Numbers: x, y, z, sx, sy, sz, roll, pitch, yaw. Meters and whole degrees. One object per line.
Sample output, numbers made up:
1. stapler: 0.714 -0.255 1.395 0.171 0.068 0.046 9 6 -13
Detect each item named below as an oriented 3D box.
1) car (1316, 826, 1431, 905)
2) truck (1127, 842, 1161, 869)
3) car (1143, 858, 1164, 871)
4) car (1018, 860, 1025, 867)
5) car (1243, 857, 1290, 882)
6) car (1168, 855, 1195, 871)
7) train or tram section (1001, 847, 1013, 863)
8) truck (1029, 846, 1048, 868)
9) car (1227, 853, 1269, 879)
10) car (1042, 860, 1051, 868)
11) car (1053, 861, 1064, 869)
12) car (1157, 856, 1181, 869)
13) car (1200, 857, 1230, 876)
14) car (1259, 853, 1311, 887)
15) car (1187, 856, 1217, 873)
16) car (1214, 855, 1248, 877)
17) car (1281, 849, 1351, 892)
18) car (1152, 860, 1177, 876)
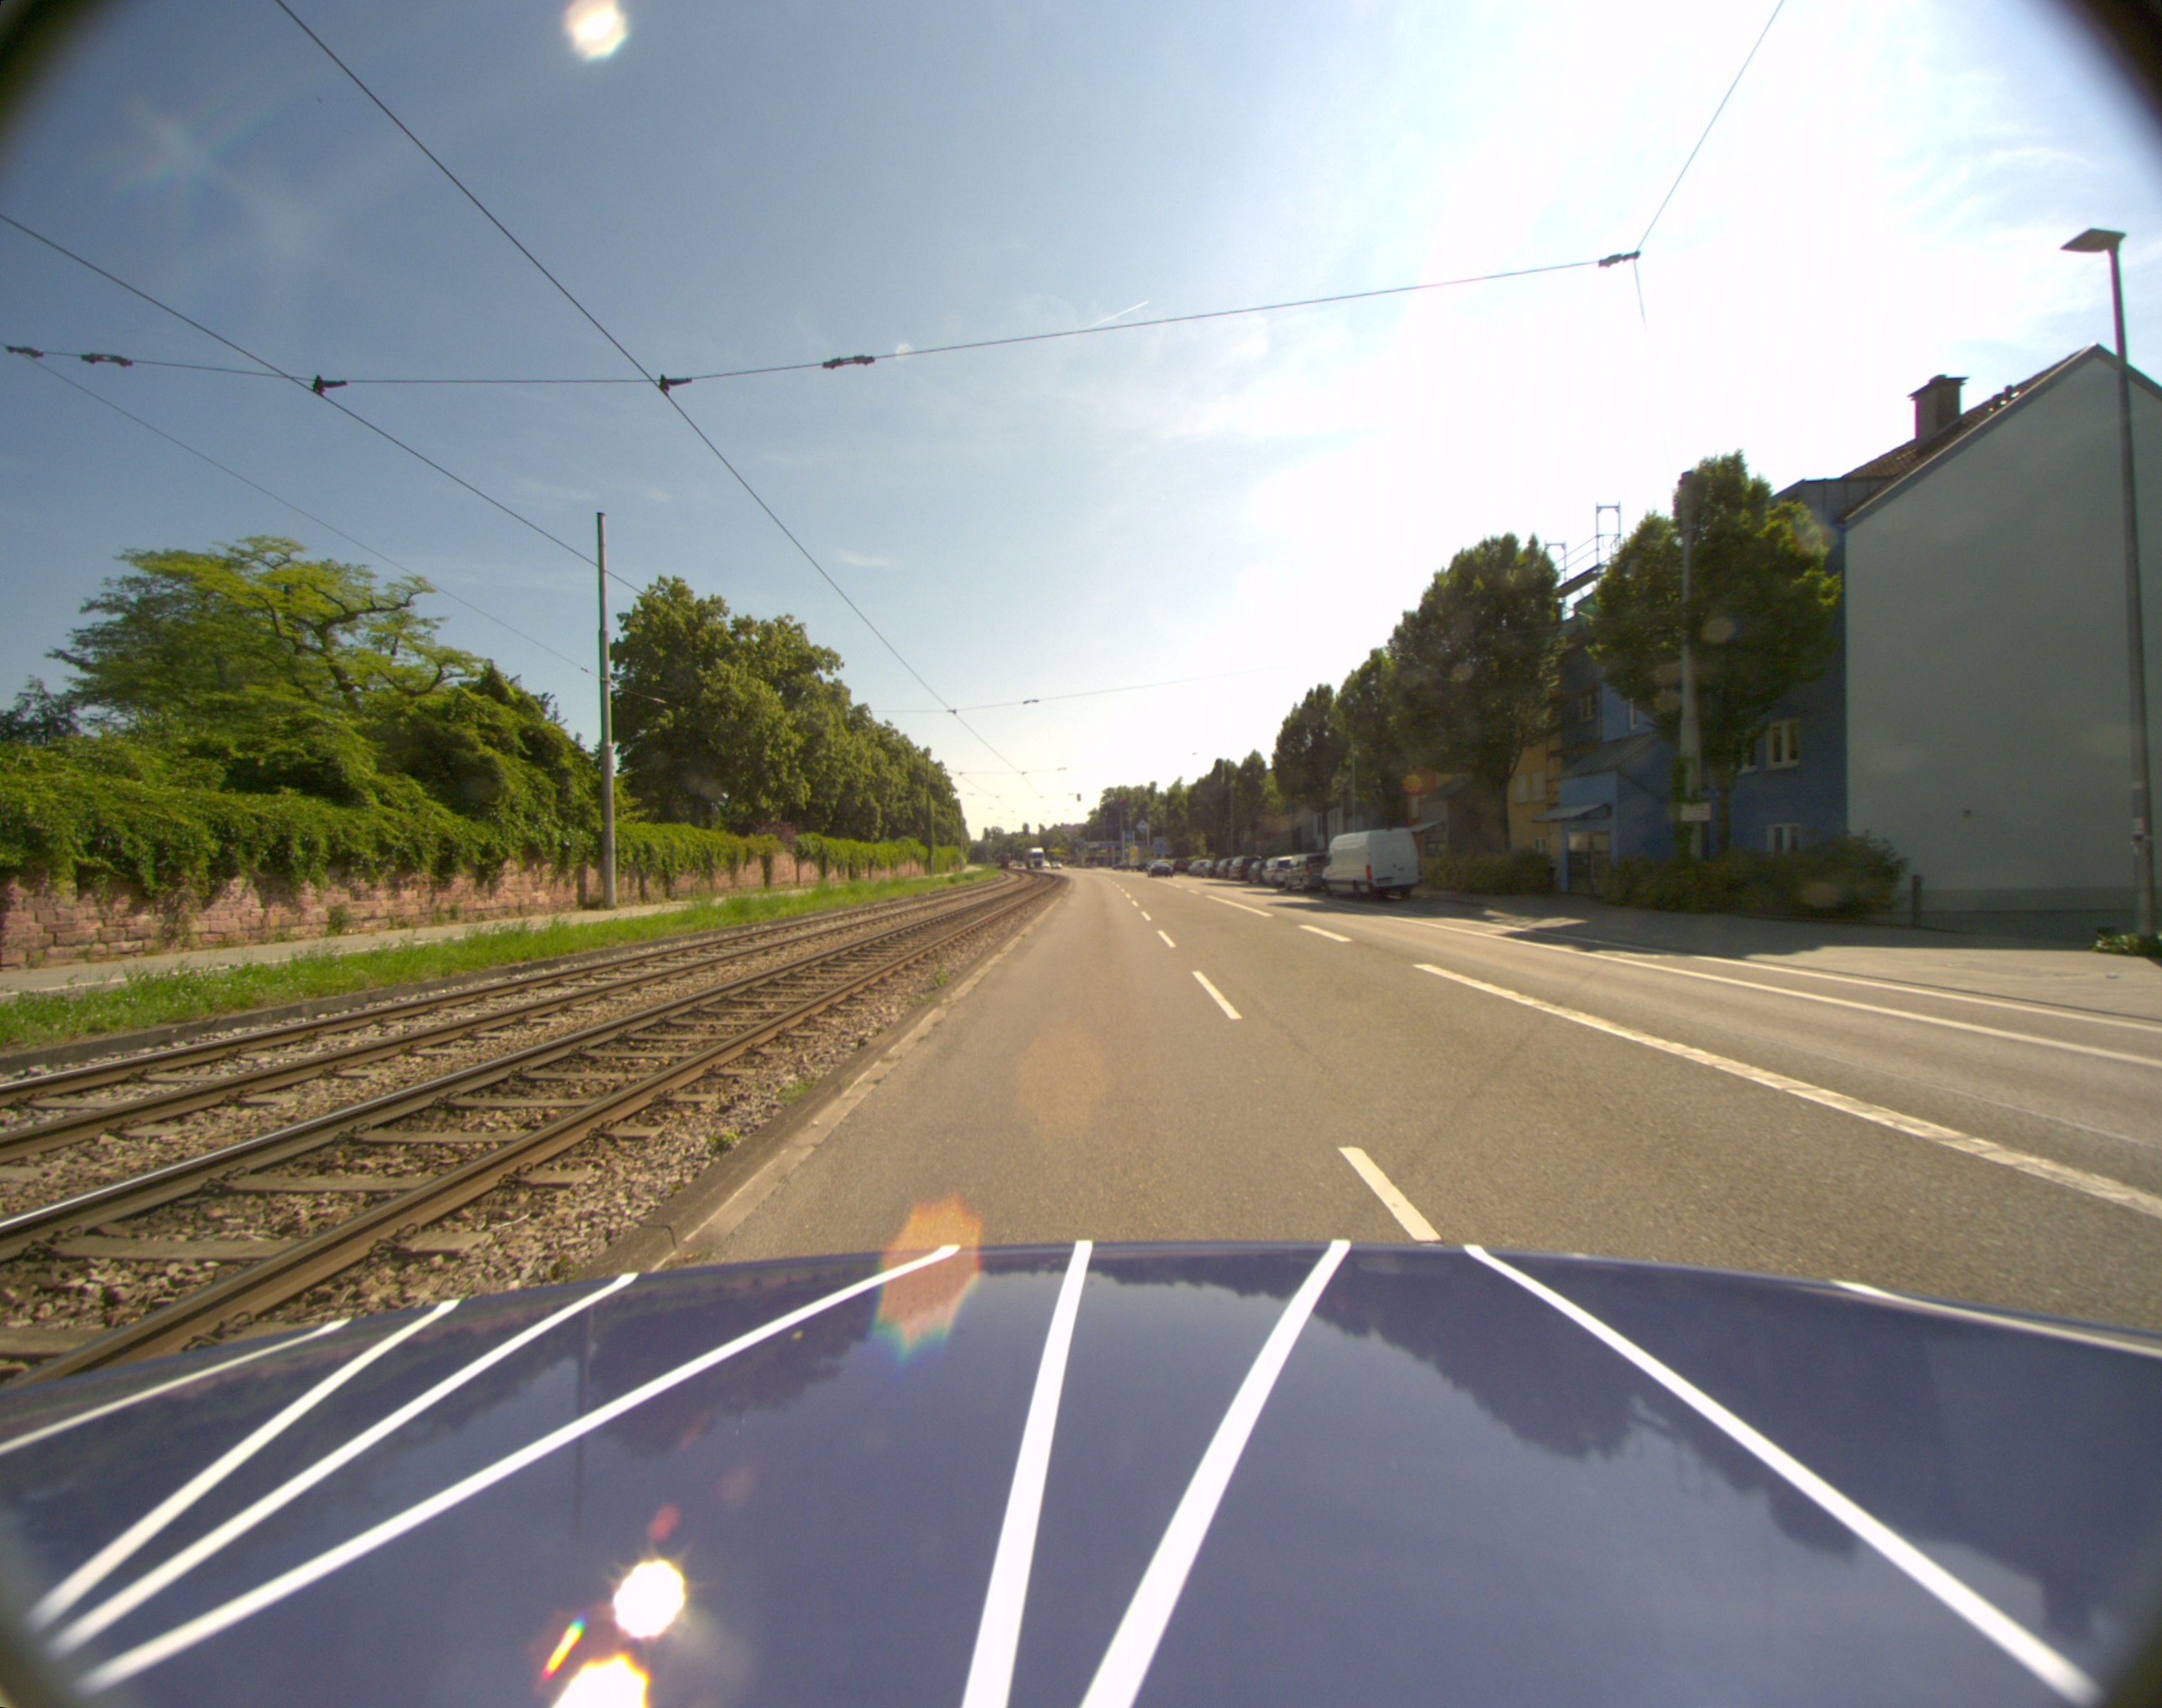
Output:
1. car: 11.456 0.403 30.449 1.998 2.661 7.087 -4 0 3
2. truck: 8.499 0.178 104.292 3.165 3.533 8.781 -1 0 -5
3. car: 9.207 1.319 96.794 1.915 1.469 4.214 -2 0 -5
4. car: -16.314 2.660 209.395 1.854 1.707 3.998 -3 1 -4
5. car: 12.037 0.981 49.508 1.871 1.447 4.075 -4 0 -2
6. car: 11.042 0.994 83.999 1.910 1.567 4.929 -2 0 -5
7. train or tram section: -18.259 0.273 188.290 2.721 3.716 18.870 -2 0 -5
8. truck: -8.174 0.563 143.759 2.807 3.926 11.936 -1 0 -7
9. car: 11.968 0.805 54.774 1.834 1.718 4.349 -3 0 -2
10. car: -7.476 2.099 162.589 1.785 1.538 4.393 -2 0 -4
11. car: -4.278 2.058 142.003 1.748 1.421 5.039 -2 0 -4
12. car: 10.612 1.009 91.781 2.040 1.490 4.131 -2 0 -5
13. car: 11.553 1.042 65.952 1.681 1.461 4.213 -2 0 -2
14. car: 11.823 0.882 44.249 1.852 1.693 4.541 -4 0 2
15. car: 11.549 0.979 72.845 1.682 1.437 4.835 -2 0 -5
16. car: 11.768 0.940 60.031 1.681 1.598 4.165 -2 0 -2
17. car: 11.839 0.791 38.611 1.998 1.855 4.967 -5 0 2
18. car: 6.831 1.086 62.134 1.691 1.237 4.065 0 0 2
